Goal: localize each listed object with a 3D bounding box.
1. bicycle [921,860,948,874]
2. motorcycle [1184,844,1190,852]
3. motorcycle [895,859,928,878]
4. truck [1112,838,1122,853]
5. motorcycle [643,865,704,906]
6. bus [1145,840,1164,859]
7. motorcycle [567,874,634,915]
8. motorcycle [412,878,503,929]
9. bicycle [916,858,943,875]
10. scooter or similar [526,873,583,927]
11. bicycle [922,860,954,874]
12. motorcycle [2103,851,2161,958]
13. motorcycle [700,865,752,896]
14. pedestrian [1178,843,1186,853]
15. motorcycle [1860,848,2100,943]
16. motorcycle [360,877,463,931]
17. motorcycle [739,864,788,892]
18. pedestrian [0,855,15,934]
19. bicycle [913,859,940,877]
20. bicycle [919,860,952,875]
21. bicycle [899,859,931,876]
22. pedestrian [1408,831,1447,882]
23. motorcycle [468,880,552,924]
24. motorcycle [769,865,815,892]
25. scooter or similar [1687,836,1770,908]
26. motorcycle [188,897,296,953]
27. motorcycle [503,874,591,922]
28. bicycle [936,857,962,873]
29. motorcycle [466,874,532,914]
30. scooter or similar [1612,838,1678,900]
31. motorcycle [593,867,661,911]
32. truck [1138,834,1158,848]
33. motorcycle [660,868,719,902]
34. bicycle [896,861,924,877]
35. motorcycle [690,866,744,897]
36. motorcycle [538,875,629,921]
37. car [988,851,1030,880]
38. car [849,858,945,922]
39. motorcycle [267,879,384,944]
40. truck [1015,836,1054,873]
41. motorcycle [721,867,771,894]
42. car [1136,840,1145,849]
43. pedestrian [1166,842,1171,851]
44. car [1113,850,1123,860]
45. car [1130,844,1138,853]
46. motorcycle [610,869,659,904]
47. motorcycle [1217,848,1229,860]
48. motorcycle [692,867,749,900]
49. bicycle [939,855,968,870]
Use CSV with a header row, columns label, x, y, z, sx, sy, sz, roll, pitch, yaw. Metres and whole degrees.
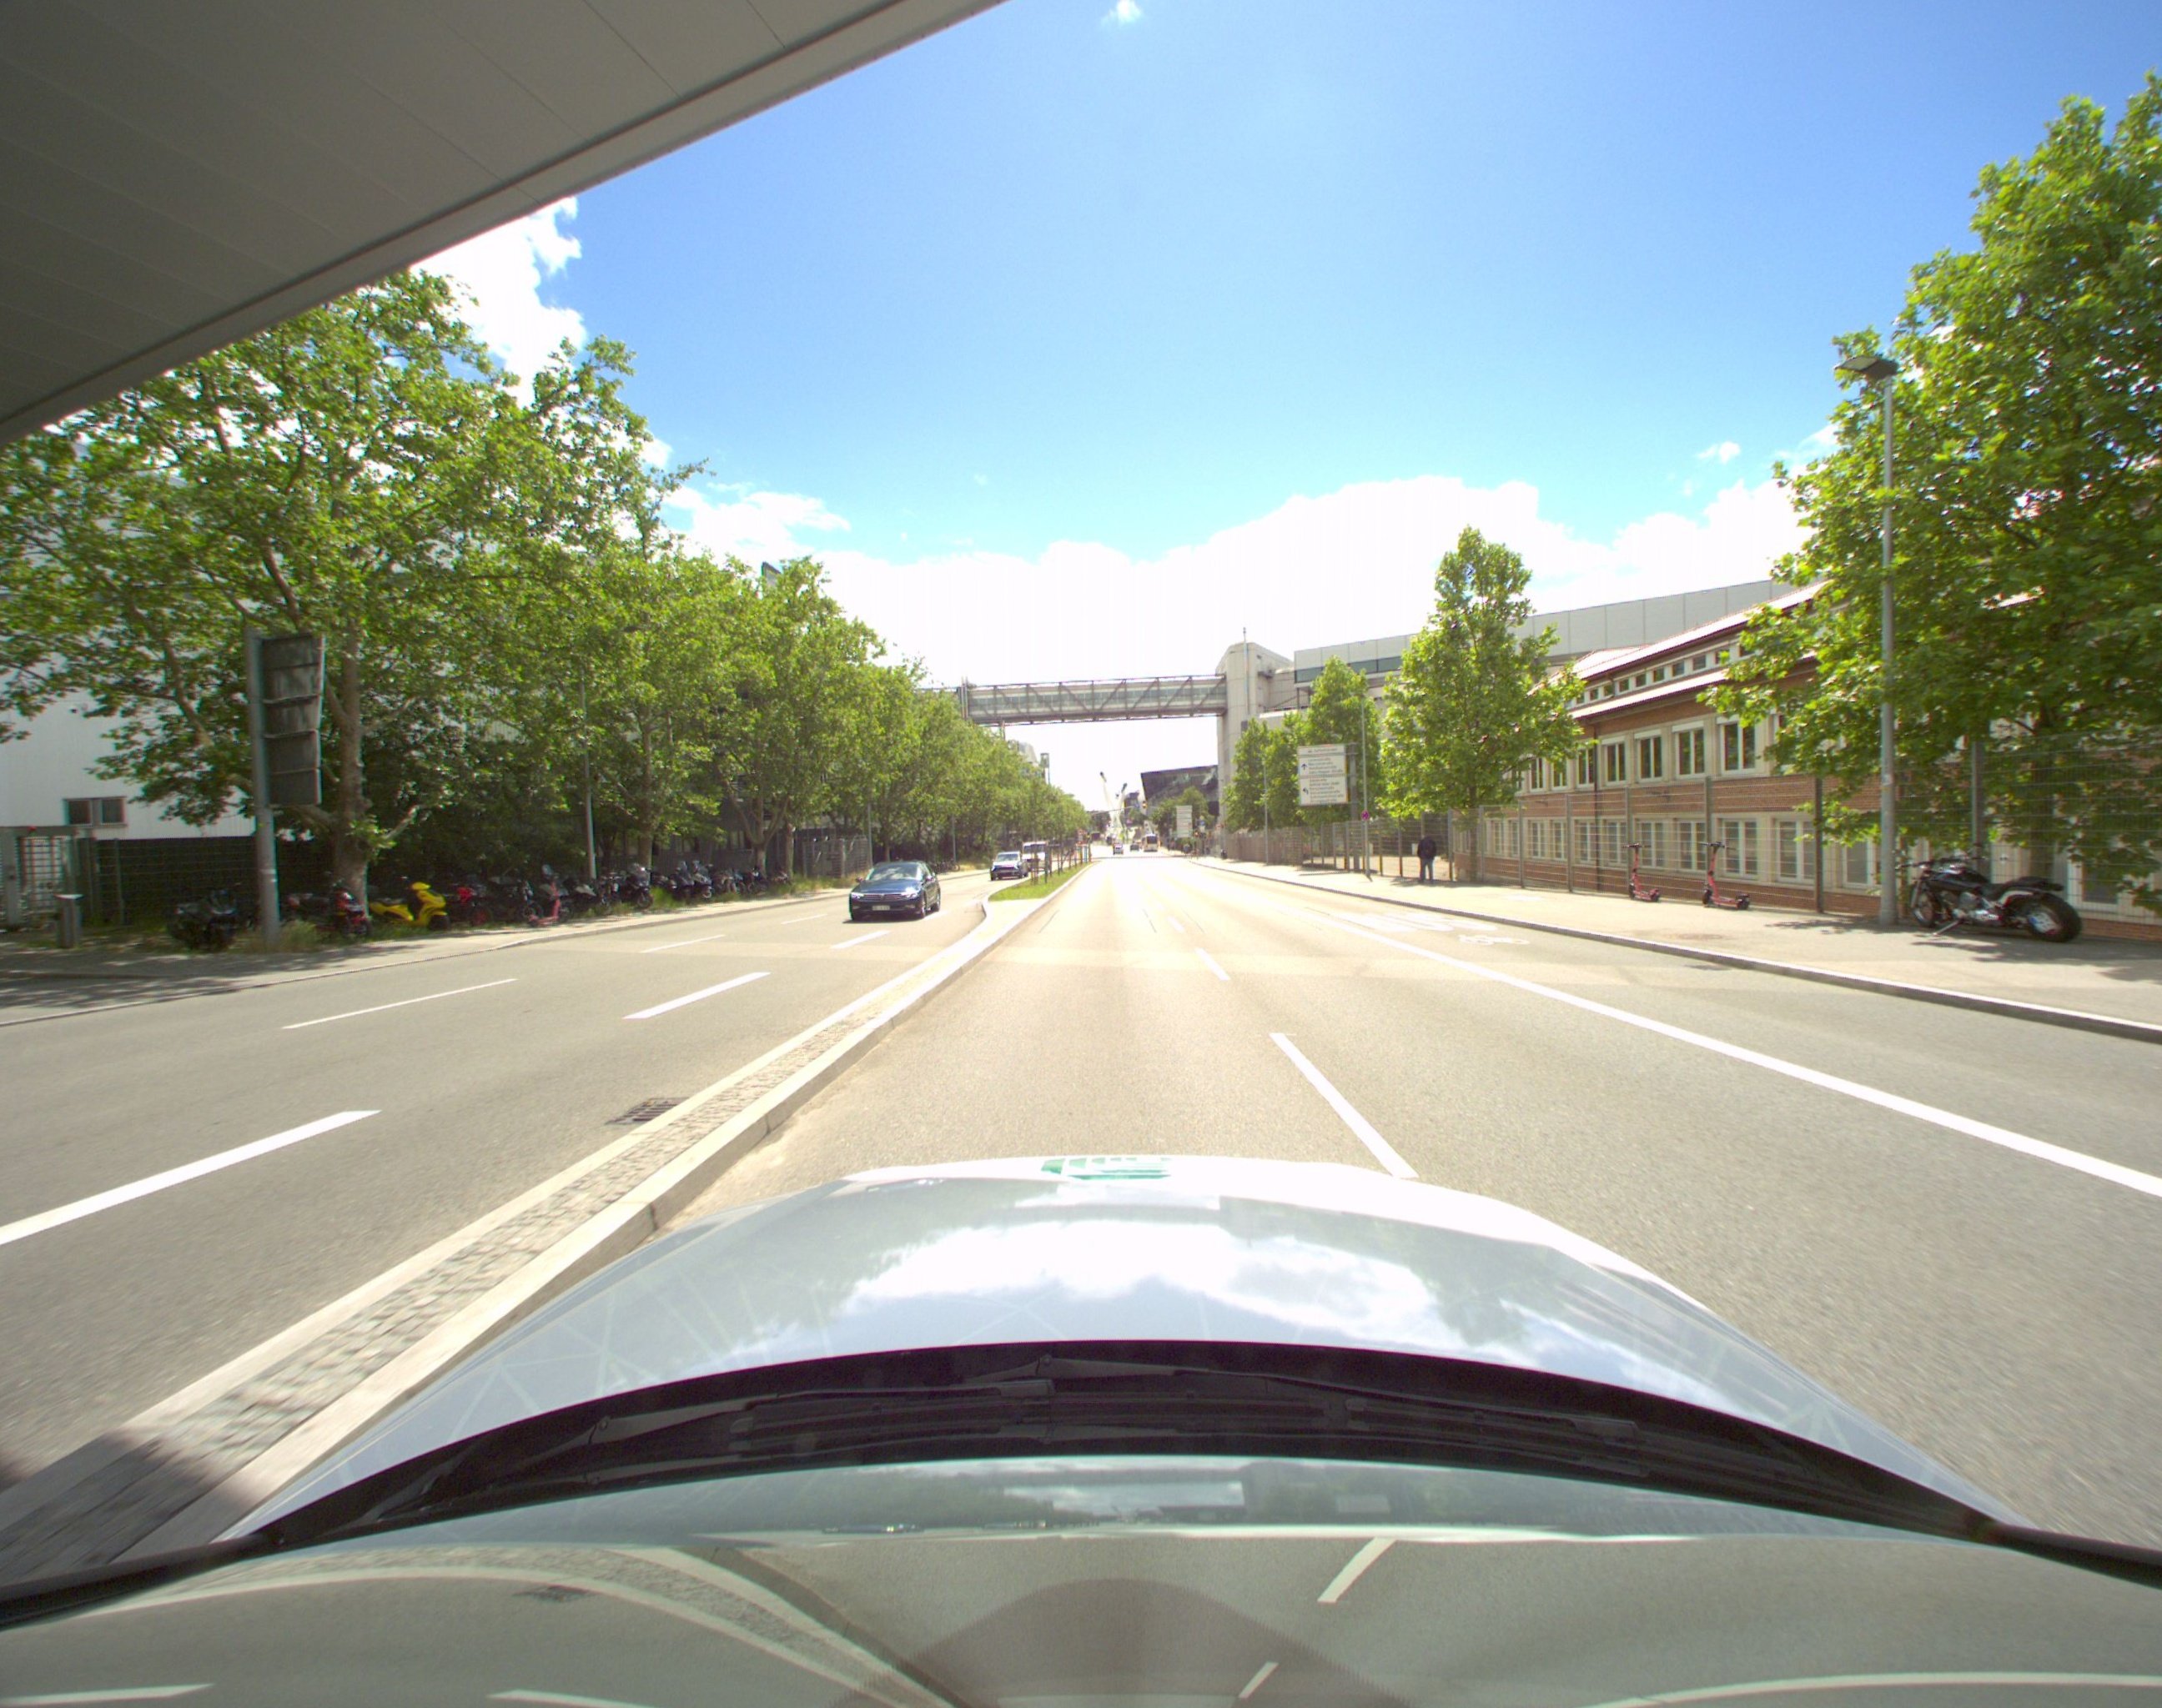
label,x,y,z,sx,sy,sz,roll,pitch,yaw
bicycle,-11.597,1.023,64.558,1.911,1.122,0.806,-1,0,0
motorcycle,16.377,-0.924,126.086,0.703,1.203,2.026,-3,1,4
motorcycle,-11.980,1.022,57.615,2.126,1.309,0.806,-1,0,0
truck,9.742,-2.293,219.328,2.382,3.897,6.183,-1,0,4
motorcycle,-14.296,1.076,28.560,1.915,1.344,0.869,1,2,23
bus,14.745,-0.921,164.271,3.438,3.543,10.613,-1,0,3
motorcycle,-14.639,1.206,24.812,1.913,1.115,0.927,1,2,29
motorcycle,-14.841,1.172,19.403,1.584,1.123,0.777,0,1,3
bicycle,-11.811,0.955,63.572,1.911,1.282,0.806,-1,0,0
scooter or similar,-12.720,1.097,19.725,0.353,1.236,1.480,0,-1,2
bicycle,-12.149,1.123,69.288,2.547,1.157,0.728,-1,0,12
motorcycle,11.460,0.516,7.593,0.705,1.064,2.511,-4,0,2
motorcycle,-14.618,1.079,33.514,1.868,1.209,0.656,0,1,6
pedestrian,16.820,-1.031,135.508,0.839,1.624,0.962,-1,0,44
motorcycle,11.668,0.488,10.720,0.666,1.064,2.248,-4,0,2
motorcycle,-14.957,1.098,18.225,1.589,1.123,0.774,0,1,-7
motorcycle,-13.947,1.032,35.807,1.866,1.186,0.732,1,1,10
pedestrian,-23.508,0.877,17.118,0.982,1.701,0.882,-1,0,-13
bicycle,-11.828,1.064,62.351,1.911,1.282,0.806,-1,0,0
bicycle,-12.012,1.123,67.300,2.547,1.096,0.698,-2,0,12
bicycle,-11.910,0.970,58.521,2.126,1.180,0.806,-1,0,0
pedestrian,12.168,0.086,28.645,0.874,1.743,0.941,-4,0,2
motorcycle,-14.503,1.214,20.701,1.584,1.033,0.777,0,1,3
motorcycle,-13.368,1.120,37.724,1.865,1.173,0.748,1,1,11
scooter or similar,12.284,0.327,15.485,0.489,1.294,1.337,-3,0,2
motorcycle,-15.447,1.288,14.988,1.727,0.868,0.780,1,2,22
motorcycle,-14.237,1.161,21.762,1.746,1.178,0.850,0,1,-9
bicycle,-11.512,0.977,71.052,2.157,1.363,0.490,-1,0,4
motorcycle,-18.097,1.217,25.340,1.913,1.115,0.927,1,2,29
scooter or similar,12.375,0.318,17.903,0.489,1.294,1.337,-3,0,2
motorcycle,-14.542,1.089,26.094,1.915,1.290,0.898,1,2,23
truck,20.837,-3.962,252.805,3.423,4.391,9.469,-1,0,21
motorcycle,-14.318,1.117,29.785,1.863,1.179,0.818,1,1,17
bicycle,-12.390,1.098,59.143,1.917,1.074,0.422,-1,0,0
motorcycle,-14.597,1.111,32.649,1.868,1.179,0.699,0,1,6
motorcycle,-14.068,1.232,23.095,1.931,1.116,0.918,-4,-1,-9
car,-4.258,0.640,48.678,1.897,1.631,4.295,-1,0,2
car,-4.819,0.882,21.941,1.705,1.453,4.475,-1,0,-2
motorcycle,-14.801,1.106,15.981,1.731,1.171,0.778,1,1,10
truck,-3.694,0.035,66.219,2.469,2.751,6.462,-2,0,2
motorcycle,-14.261,1.113,34.674,1.863,1.084,0.798,1,1,17
car,14.238,-2.229,193.853,1.986,2.014,4.001,0,-1,1
pedestrian,16.270,-1.427,151.749,0.817,1.707,0.882,-1,0,3
car,6.390,0.119,140.606,1.731,1.741,3.695,-1,0,3
car,10.831,-1.067,166.879,1.731,1.741,3.695,-1,0,3
motorcycle,-17.547,1.254,32.043,0.649,1.209,1.987,0,2,7
motorcycle,14.342,0.003,82.289,0.690,1.158,2.147,-3,0,-1
motorcycle,-13.859,1.136,31.345,1.866,1.179,0.817,1,1,11
bicycle,-10.981,0.746,69.998,2.393,1.258,0.556,-1,0,4
